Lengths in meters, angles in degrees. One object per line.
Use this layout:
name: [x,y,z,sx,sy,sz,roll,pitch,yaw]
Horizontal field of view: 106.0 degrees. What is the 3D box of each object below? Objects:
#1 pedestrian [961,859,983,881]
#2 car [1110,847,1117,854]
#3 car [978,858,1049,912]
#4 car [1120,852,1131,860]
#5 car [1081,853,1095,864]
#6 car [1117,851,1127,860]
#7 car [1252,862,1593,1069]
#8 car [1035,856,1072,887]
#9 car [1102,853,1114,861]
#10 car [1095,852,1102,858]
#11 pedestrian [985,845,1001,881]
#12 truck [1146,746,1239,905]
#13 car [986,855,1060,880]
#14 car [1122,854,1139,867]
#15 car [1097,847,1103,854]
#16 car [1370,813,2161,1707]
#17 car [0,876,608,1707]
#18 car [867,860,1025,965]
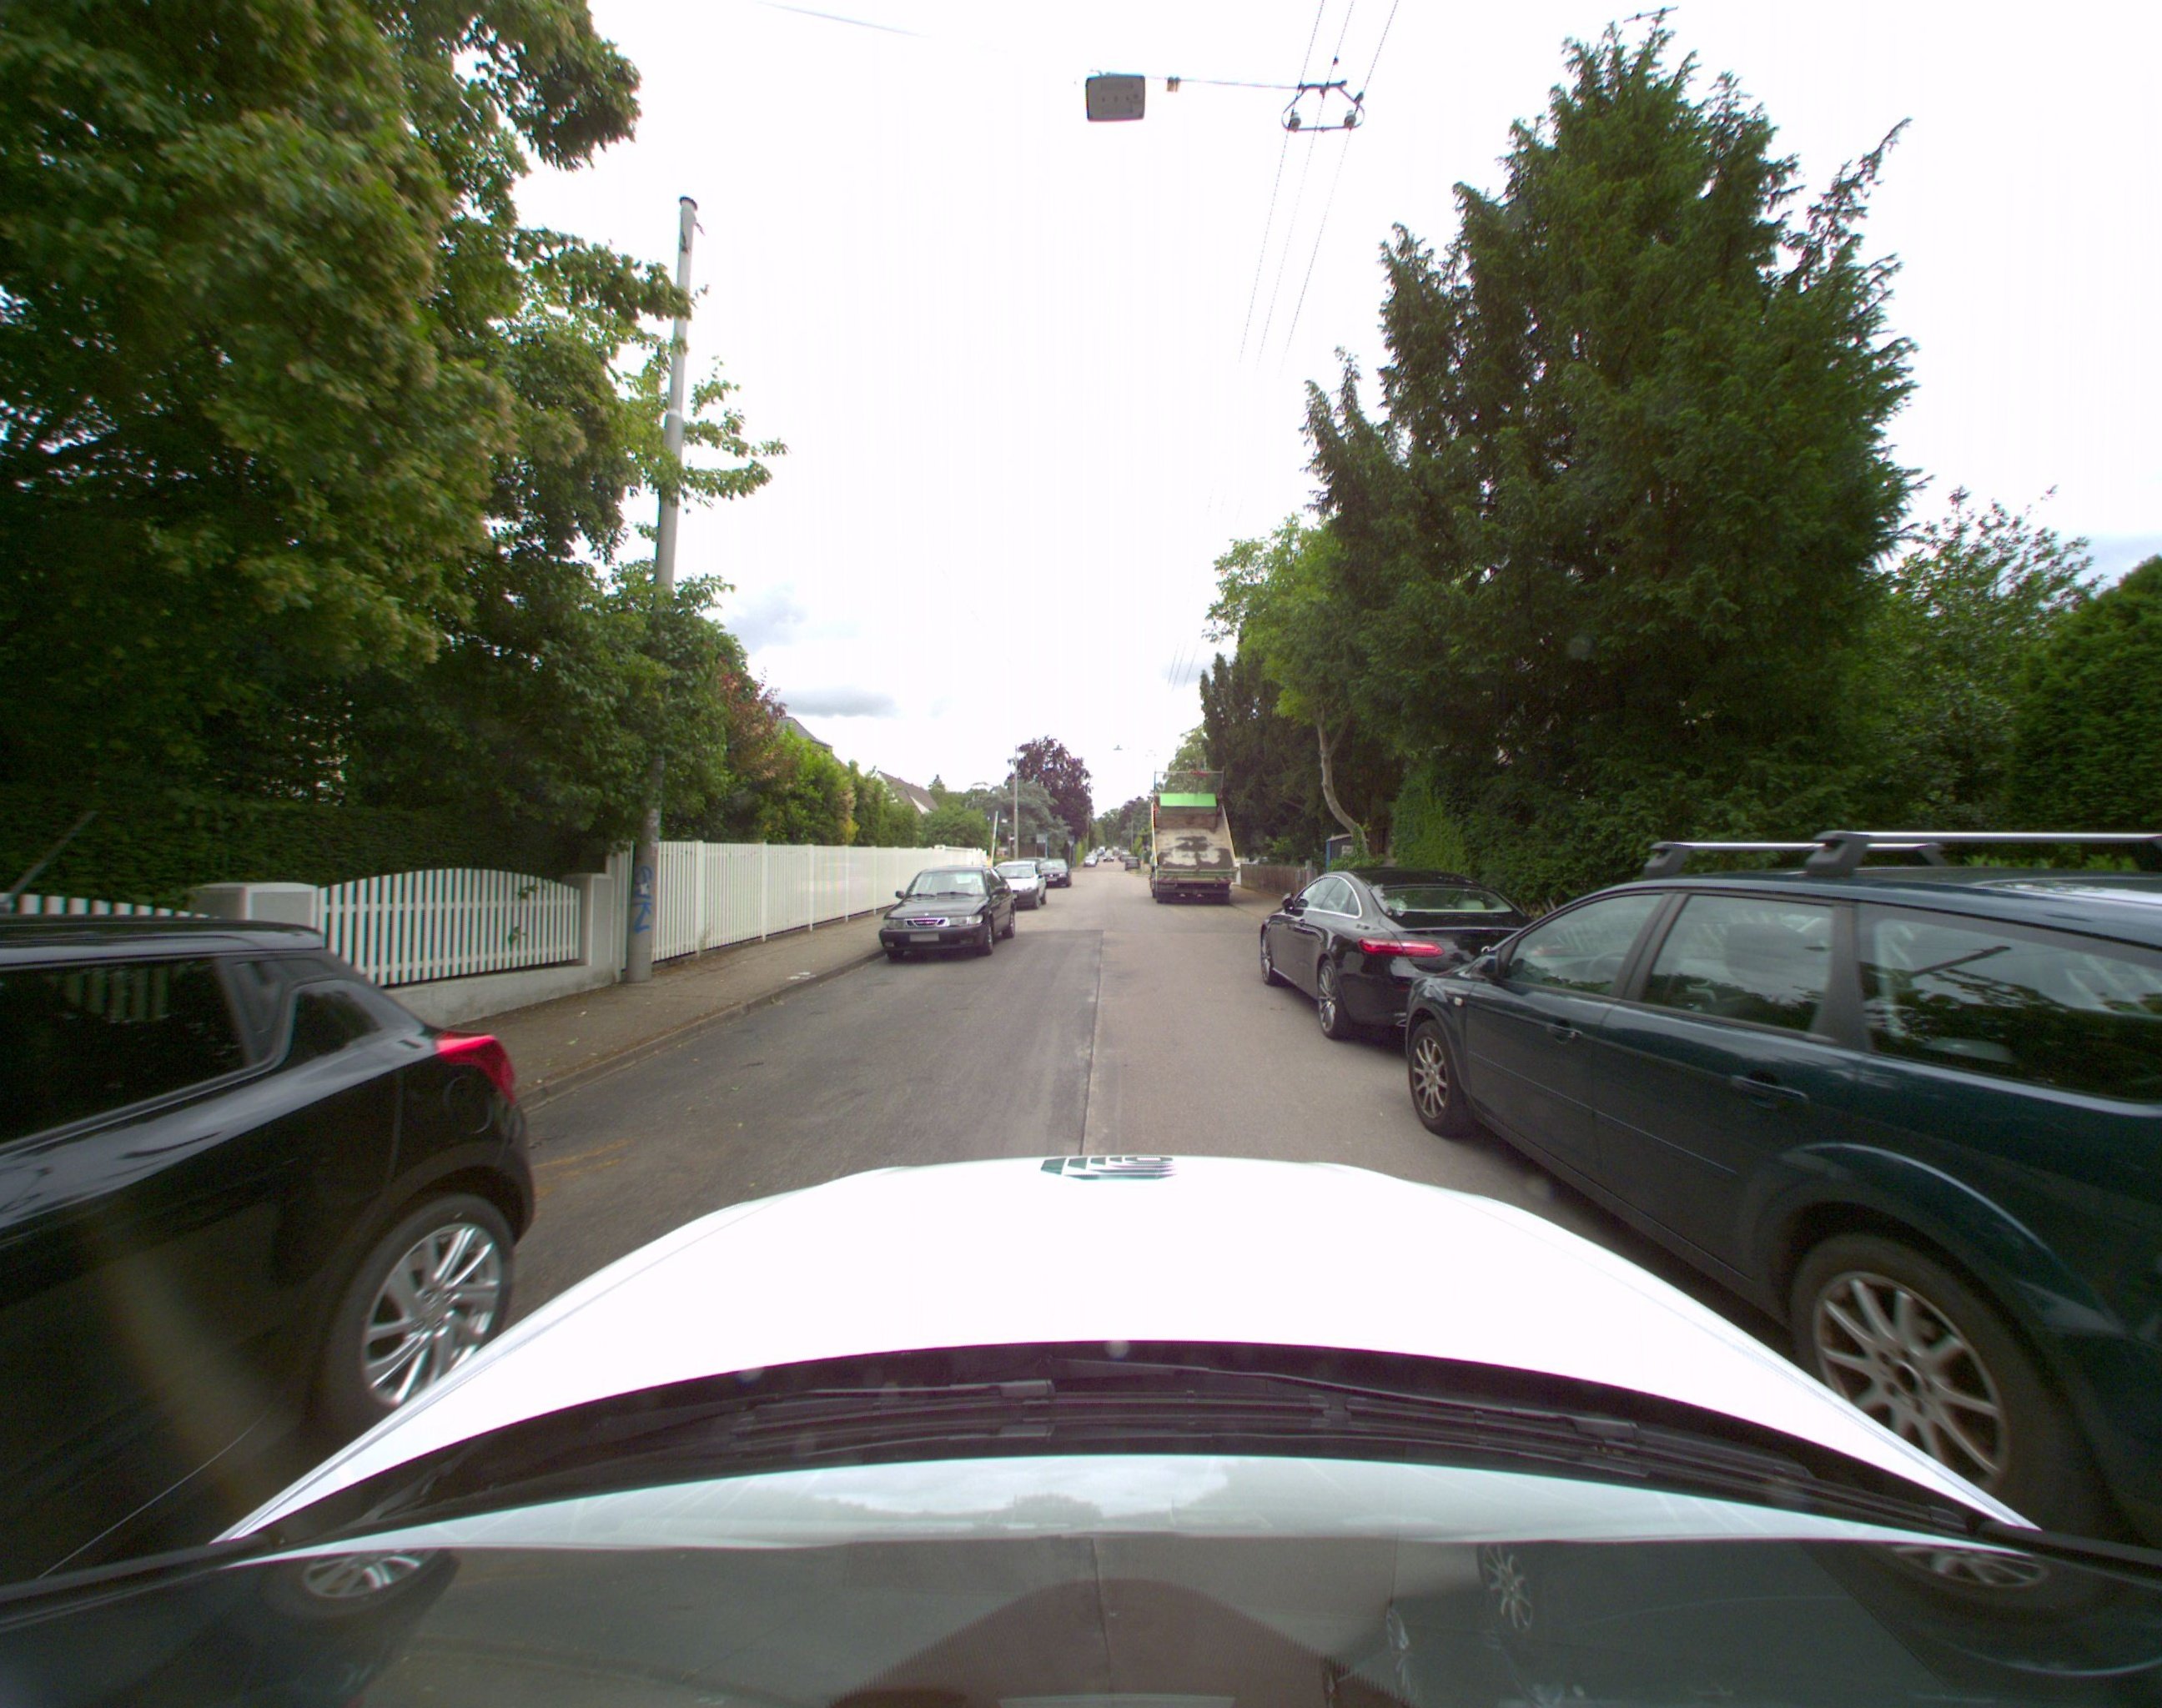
pedestrian: [-6.320,0.928,47.256,0.954,1.225,0.827,1,-1,-40]
car: [8.442,-0.899,210.364,1.628,1.701,3.495,0,0,1]
car: [-2.001,0.897,25.175,1.589,1.433,4.003,-2,0,3]
car: [7.724,0.302,141.228,1.804,1.335,3.633,1,1,1]
car: [1.005,0.589,117.606,1.703,1.586,4.005,0,0,5]
car: [7.573,0.258,150.107,1.782,1.529,3.737,0,0,3]
car: [2.945,0.822,8.195,1.645,1.424,4.663,1,0,2]
car: [-1.348,0.870,41.272,1.631,1.395,3.989,-3,0,1]
car: [4.807,0.558,144.671,1.719,1.407,3.810,0,0,6]
car: [4.402,0.193,206.170,1.620,1.386,3.599,1,0,1]
pedestrian: [-5.116,0.524,47.267,0.850,2.014,0.700,1,-1,-3]
truck: [3.616,-0.865,27.979,2.514,4.748,7.192,1,0,3]
car: [-3.439,0.793,48.648,3.955,1.444,1.835,0,0,18]
car: [5.909,0.752,97.524,1.772,1.489,4.001,0,0,1]
car: [5.780,-1.104,253.234,1.811,1.882,4.001,1,0,1]
car: [2.737,0.706,3.192,1.692,1.570,4.308,-1,0,0]
car: [-2.634,0.872,0.980,1.648,1.481,3.890,-3,0,2]
car: [-2.149,0.881,14.242,1.633,1.422,4.554,-3,0,4]
